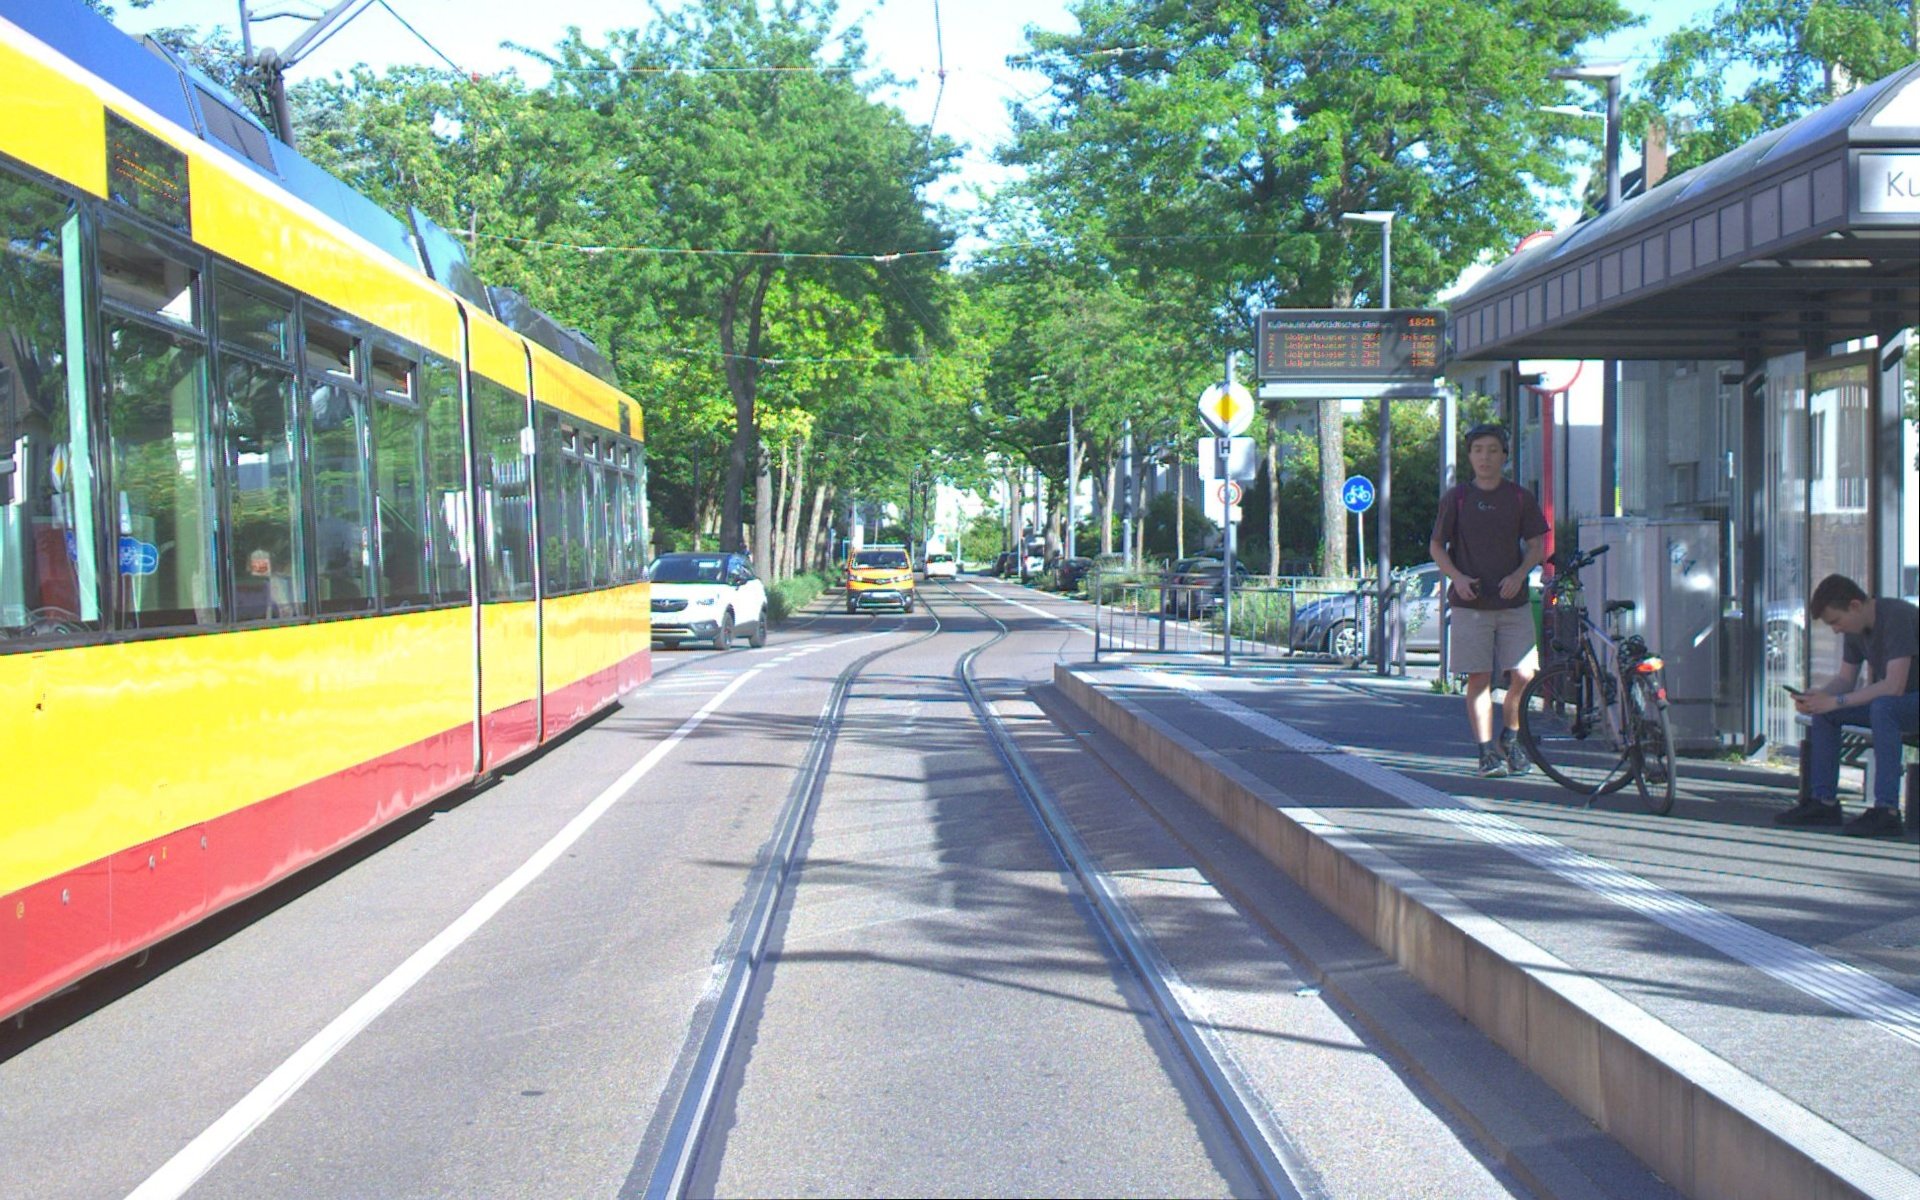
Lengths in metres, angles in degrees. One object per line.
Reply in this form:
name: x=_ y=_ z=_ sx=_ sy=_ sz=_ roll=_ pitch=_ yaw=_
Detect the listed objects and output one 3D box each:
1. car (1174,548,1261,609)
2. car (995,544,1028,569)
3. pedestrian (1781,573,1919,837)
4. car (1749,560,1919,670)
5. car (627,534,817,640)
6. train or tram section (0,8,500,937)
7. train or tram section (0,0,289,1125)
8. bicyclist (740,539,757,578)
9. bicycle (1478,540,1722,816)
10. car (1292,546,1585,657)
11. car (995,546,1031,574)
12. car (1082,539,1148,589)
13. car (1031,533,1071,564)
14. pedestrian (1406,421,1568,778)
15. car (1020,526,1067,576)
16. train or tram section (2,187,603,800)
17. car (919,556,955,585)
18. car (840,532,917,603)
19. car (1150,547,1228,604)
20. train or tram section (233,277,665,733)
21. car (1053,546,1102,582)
car: x=6.524 y=-0.565 z=87.460 sx=1.748 sy=1.490 sz=4.444 roll=-1 pitch=1 yaw=-1
car: x=3.516 y=-2.957 z=233.228 sx=2.003 sy=1.669 sz=4.392 roll=-2 pitch=1 yaw=3
pedestrian: x=4.053 y=0.450 z=15.011 sx=0.738 sy=1.113 sz=0.658 roll=1 pitch=1 yaw=-1
car: x=13.119 y=0.209 z=46.767 sx=4.605 sy=1.461 sz=1.981 roll=0 pitch=-1 yaw=12
car: x=-3.834 y=-0.236 z=56.110 sx=1.766 sy=1.658 sz=4.207 roll=0 pitch=1 yaw=16
train or tram section: x=-3.962 y=-0.539 z=16.119 sx=2.803 sy=3.448 sz=6.669 roll=0 pitch=1 yaw=-1
train or tram section: x=-3.849 y=-0.409 z=9.422 sx=2.803 sy=3.448 sz=6.669 roll=0 pitch=1 yaw=-1
bicyclist: x=-8.293 y=-1.623 z=134.697 sx=0.593 sy=1.522 sz=1.061 roll=0 pitch=1 yaw=0
bicycle: x=3.006 y=0.334 z=16.332 sx=0.619 sy=1.225 sz=1.967 roll=1 pitch=1 yaw=-5
car: x=6.746 y=0.002 z=48.429 sx=3.988 sy=1.503 sz=1.981 roll=0 pitch=1 yaw=9
car: x=3.308 y=-2.505 z=215.706 sx=2.003 sy=1.669 sz=4.392 roll=-2 pitch=1 yaw=-1
car: x=5.656 y=-1.331 z=126.051 sx=1.993 sy=1.698 sz=4.478 roll=-3 pitch=1 yaw=-2
car: x=4.288 y=-2.439 z=162.049 sx=1.627 sy=1.393 sz=3.646 roll=-3 pitch=1 yaw=-1
pedestrian: x=2.802 y=-0.009 z=18.338 sx=0.711 sy=1.847 sz=0.729 roll=1 pitch=1 yaw=1
car: x=4.459 y=-2.613 z=183.409 sx=2.245 sy=2.645 sz=5.586 roll=0 pitch=1 yaw=-1
train or tram section: x=-4.075 y=-0.661 z=22.817 sx=2.803 sy=3.448 sz=6.669 roll=0 pitch=1 yaw=-1
car: x=-1.354 y=-1.764 z=201.922 sx=1.865 sy=1.669 sz=4.173 roll=-1 pitch=1 yaw=-4
car: x=-2.352 y=-0.930 z=97.664 sx=1.993 sy=1.959 sz=4.935 roll=0 pitch=1 yaw=-4
car: x=6.188 y=-0.676 z=93.328 sx=1.748 sy=1.490 sz=3.997 roll=-1 pitch=1 yaw=-1
train or tram section: x=-4.179 y=-0.780 z=29.513 sx=2.803 sy=3.448 sz=6.669 roll=0 pitch=1 yaw=-1
car: x=5.197 y=-1.610 z=152.523 sx=1.784 sy=1.443 sz=4.302 roll=-3 pitch=1 yaw=-3
